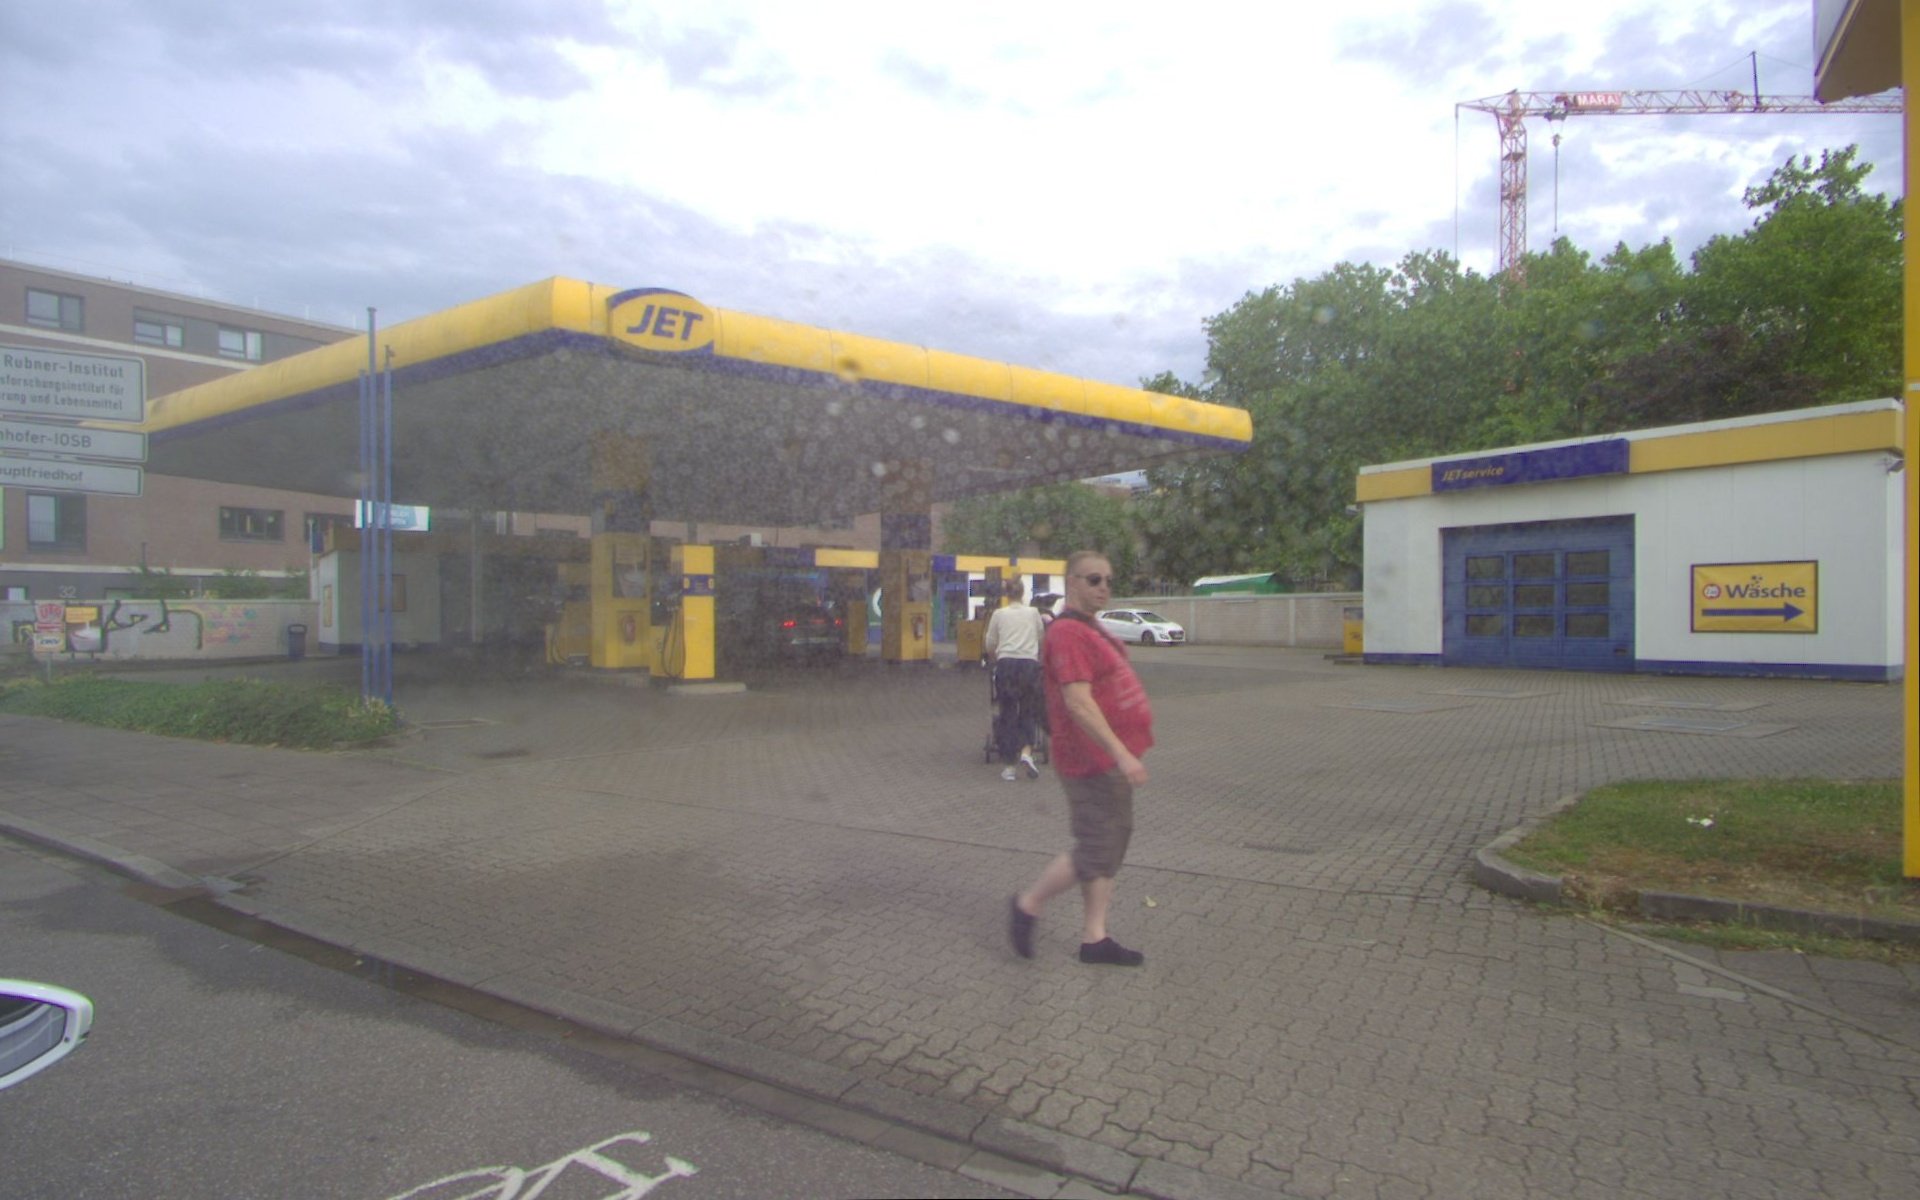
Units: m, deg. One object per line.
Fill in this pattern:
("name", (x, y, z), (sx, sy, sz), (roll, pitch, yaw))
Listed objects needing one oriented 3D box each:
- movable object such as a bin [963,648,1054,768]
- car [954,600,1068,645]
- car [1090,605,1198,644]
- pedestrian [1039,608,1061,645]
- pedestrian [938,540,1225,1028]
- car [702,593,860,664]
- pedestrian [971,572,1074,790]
("movable object such as a bin", (0.452, 1.027, 9.817), (0.755, 1.053, 1.023), (0, 1, -5))
("car", (1.914, 0.919, 38.701), (1.821, 1.658, 4.440), (2, -3, -41))
("car", (7.686, 1.064, 42.171), (1.916, 1.546, 4.302), (2, -3, -37))
("pedestrian", (3.315, 0.990, 36.883), (0.573, 1.364, 0.607), (1, -2, -37))
("pedestrian", (0.545, 0.664, 4.236), (0.849, 1.762, 0.970), (-1, 1, 31))
("car", (-4.350, 0.705, 23.837), (1.972, 1.516, 4.296), (-1, -2, -37))
("pedestrian", (0.527, 0.667, 8.936), (0.755, 1.821, 1.161), (0, 2, -5))
